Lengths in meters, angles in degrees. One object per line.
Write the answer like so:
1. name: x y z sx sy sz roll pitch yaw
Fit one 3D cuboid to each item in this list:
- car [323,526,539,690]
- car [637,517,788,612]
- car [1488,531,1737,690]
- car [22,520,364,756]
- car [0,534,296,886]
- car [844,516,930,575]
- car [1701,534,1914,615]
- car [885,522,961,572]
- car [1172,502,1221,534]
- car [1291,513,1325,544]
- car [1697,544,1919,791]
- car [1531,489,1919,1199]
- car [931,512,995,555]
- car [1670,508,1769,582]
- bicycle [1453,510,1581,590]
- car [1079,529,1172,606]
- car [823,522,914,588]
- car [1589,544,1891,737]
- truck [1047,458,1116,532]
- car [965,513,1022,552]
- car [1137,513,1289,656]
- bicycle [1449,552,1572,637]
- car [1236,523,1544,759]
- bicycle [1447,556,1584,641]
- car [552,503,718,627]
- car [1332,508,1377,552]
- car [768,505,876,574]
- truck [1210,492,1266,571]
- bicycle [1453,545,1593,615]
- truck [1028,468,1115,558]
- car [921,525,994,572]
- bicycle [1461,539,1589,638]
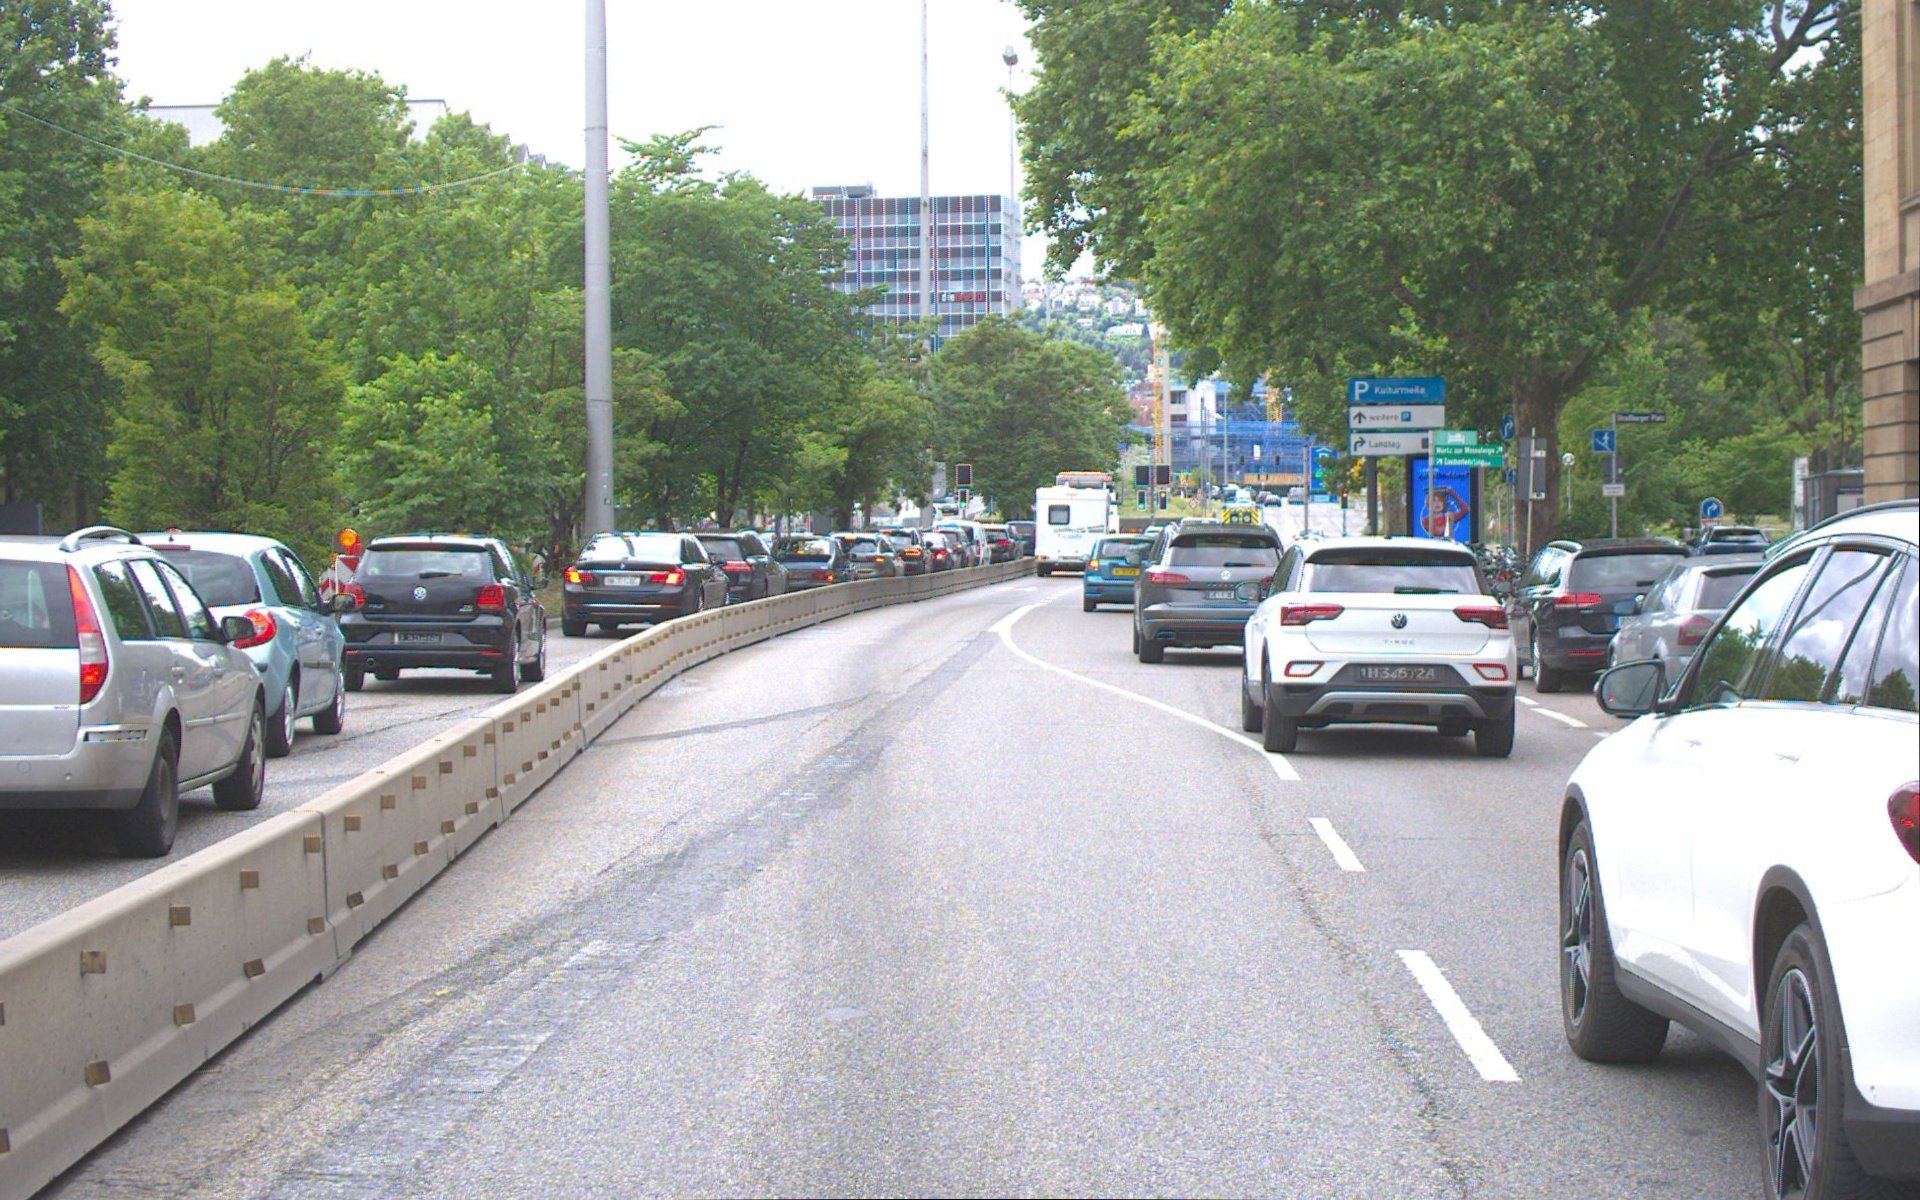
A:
1. car: -4.990 0.033 32.877 1.659 1.449 4.199 1 1 -4
2. car: -4.029 -0.607 56.734 1.816 1.494 4.768 0 1 4
3. car: 6.507 0.061 34.709 1.788 1.481 4.326 1 1 2
4. car: -5.276 0.208 24.083 1.672 1.501 3.855 1 1 -3
5. car: -4.581 0.424 16.933 1.878 1.476 4.705 1 1 -2
6. car: -1.797 -1.371 85.449 1.776 1.415 4.000 0 2 4
7. car: 16.629 -0.512 67.574 3.836 1.563 1.679 0 1 5
8. car: -0.977 -1.446 93.344 1.659 1.315 3.547 1 1 6
9. car: 10.191 -3.516 147.917 1.947 1.315 4.016 1 1 6
10. car: 18.510 -3.813 182.991 1.759 1.663 4.167 0 2 5
11. car: 5.998 0.378 22.722 1.616 1.450 3.858 -1 1 3
12. car: 2.644 0.591 8.530 1.788 1.619 4.437 2 1 2
13. car: 0.112 -2.084 108.212 1.659 1.315 3.547 1 1 6
14. car: 17.634 -1.299 79.996 1.761 1.546 4.026 0 3 5
15. bicycle: 7.891 -0.709 48.701 1.729 1.087 0.380 2 1 17
16. car: 3.155 -0.624 65.056 1.659 1.408 3.547 1 1 4
17. car: -2.041 -1.025 77.753 1.661 1.431 3.960 1 1 4
18. car: 6.252 0.276 27.942 1.708 1.421 3.996 -1 1 3
19. truck: 5.232 -4.469 146.790 2.692 2.981 5.637 2 1 4
20. car: 1.180 -2.344 119.996 1.659 1.315 3.547 1 1 6
21. car: 3.012 -0.210 41.476 1.659 1.633 3.547 1 1 2
22. bicycle: 7.487 -0.069 46.774 1.609 1.126 0.470 1 1 -22
23. car: 3.106 0.246 25.510 1.796 1.603 3.755 1 1 0
24. bicycle: 7.245 -0.030 44.848 1.665 1.070 0.584 1 1 24
25. car: -4.504 -0.510 48.294 1.923 1.630 4.937 1 1 -1
26. car: 18.386 -3.275 160.296 1.994 2.007 3.999 1 1 6
27. car: -2.774 -1.244 69.945 1.678 1.362 4.543 0 1 4
28. truck: 14.927 -3.706 184.723 2.877 4.089 6.637 1 1 4
29. bicycle: 7.496 -0.271 45.779 1.730 0.914 0.613 1 1 23
30. truck: 3.762 -2.905 114.411 2.621 2.851 7.078 1 1 4
31. car: -0.056 -1.499 99.225 1.659 1.315 3.546 1 1 8
32. bicycle: 7.450 -0.163 45.346 1.544 1.252 0.542 2 1 23
